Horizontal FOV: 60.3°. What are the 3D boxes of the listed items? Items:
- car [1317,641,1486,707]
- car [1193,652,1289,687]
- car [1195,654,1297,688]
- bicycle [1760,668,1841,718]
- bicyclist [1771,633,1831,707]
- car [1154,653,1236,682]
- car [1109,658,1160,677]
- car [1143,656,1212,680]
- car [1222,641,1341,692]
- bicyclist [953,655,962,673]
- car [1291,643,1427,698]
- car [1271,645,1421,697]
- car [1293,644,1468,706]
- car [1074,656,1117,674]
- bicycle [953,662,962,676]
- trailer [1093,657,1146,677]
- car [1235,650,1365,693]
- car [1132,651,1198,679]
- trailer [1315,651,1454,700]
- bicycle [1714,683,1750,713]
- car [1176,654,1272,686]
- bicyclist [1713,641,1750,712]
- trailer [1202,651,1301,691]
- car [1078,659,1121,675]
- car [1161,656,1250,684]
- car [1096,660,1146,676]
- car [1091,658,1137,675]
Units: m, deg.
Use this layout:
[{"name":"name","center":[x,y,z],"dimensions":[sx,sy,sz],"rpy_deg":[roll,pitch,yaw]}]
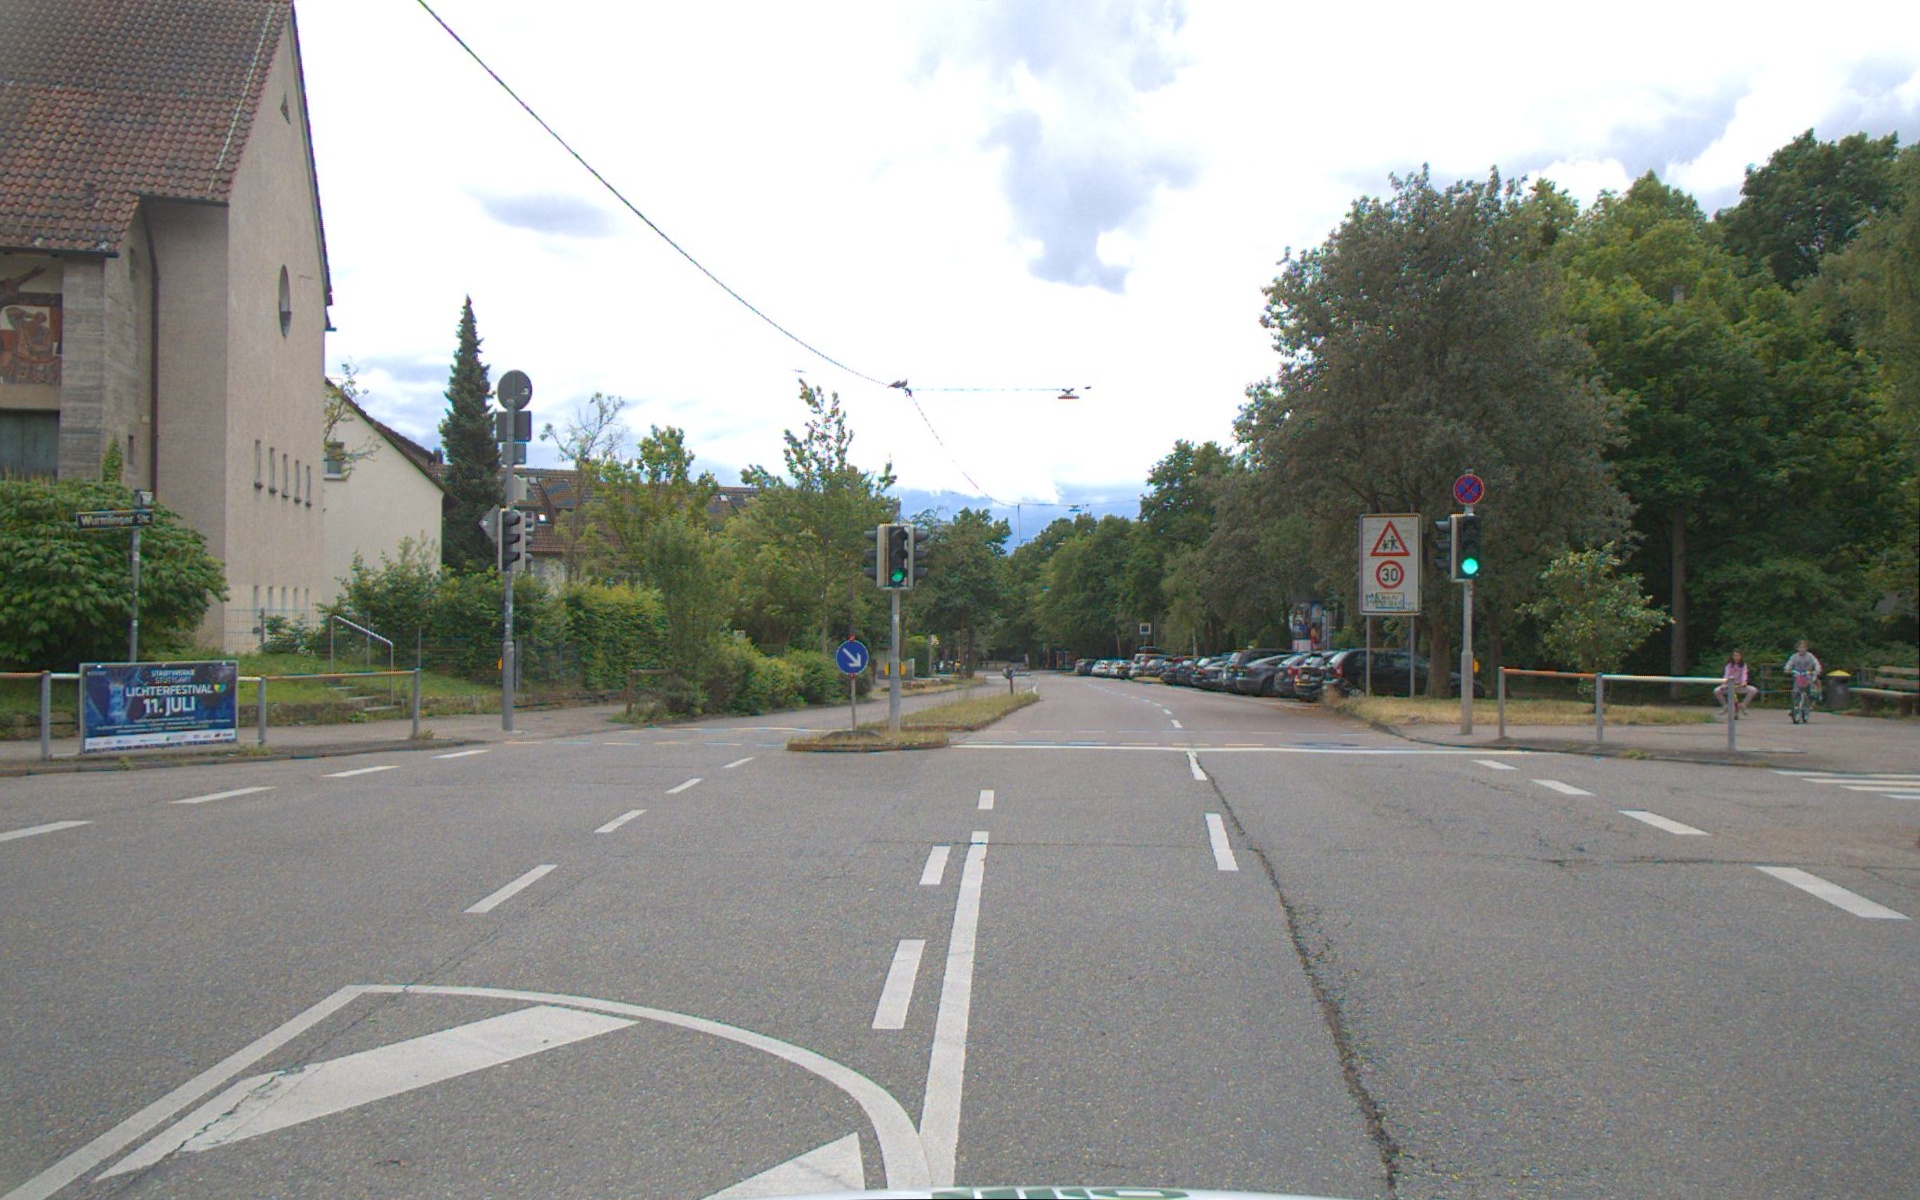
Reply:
[{"name":"car","center":[10.563,1.761,39.683],"dimensions":[3.639,1.502,1.576],"rpy_deg":[1,-2,0]},{"name":"car","center":[12.294,3.042,72.467],"dimensions":[3.843,1.513,1.613],"rpy_deg":[1,-2,-13]},{"name":"car","center":[11.938,2.977,69.211],"dimensions":[3.959,1.351,1.557],"rpy_deg":[1,-3,-6]},{"name":"bicycle","center":[13.745,1.511,27.095],"dimensions":[0.626,0.772,1.682],"rpy_deg":[0,-2,6]},{"name":"bicyclist","center":[13.760,1.137,27.078],"dimensions":[0.626,1.182,0.804],"rpy_deg":[0,-2,6]},{"name":"car","center":[12.512,3.592,87.929],"dimensions":[4.010,1.542,1.723],"rpy_deg":[1,-2,-20]},{"name":"car","center":[14.343,5.571,136.092],"dimensions":[3.825,1.474,1.734],"rpy_deg":[1,-3,-19]},{"name":"car","center":[13.576,4.247,103.175],"dimensions":[3.895,1.430,1.751],"rpy_deg":[2,-2,-12]},{"name":"car","center":[11.562,2.405,59.549],"dimensions":[3.909,1.755,1.678],"rpy_deg":[1,-3,-7]},{"name":"bicyclist","center":[-0.214,6.094,158.372],"dimensions":[0.827,1.727,0.713],"rpy_deg":[0,-2,1]},{"name":"car","center":[11.418,2.025,47.358],"dimensions":[3.459,1.502,1.588],"rpy_deg":[1,-2,-10]},{"name":"car","center":[11.609,2.140,49.853],"dimensions":[4.138,1.490,1.632],"rpy_deg":[1,-2,-6]},{"name":"car","center":[10.680,1.914,42.110],"dimensions":[4.057,1.502,1.573],"rpy_deg":[1,-2,-8]},{"name":"car","center":[13.260,6.410,162.161],"dimensions":[3.823,1.697,1.735],"rpy_deg":[1,-3,-17]},{"name":"bicycle","center":[-0.222,6.620,158.301],"dimensions":[0.827,1.288,2.652],"rpy_deg":[0,-1,1]},{"name":"trailer","center":[13.358,5.580,138.311],"dimensions":[4.088,1.601,1.704],"rpy_deg":[2,-3,-17]},{"name":"car","center":[11.644,2.455,56.771],"dimensions":[4.082,1.431,1.694],"rpy_deg":[1,-3,-8]},{"name":"car","center":[13.788,4.397,111.233],"dimensions":[4.032,1.785,1.773],"rpy_deg":[2,-2,-24]},{"name":"trailer","center":[11.545,2.053,45.091],"dimensions":[3.337,1.289,1.614],"rpy_deg":[1,-3,-7]},{"name":"bicycle","center":[13.499,1.713,28.923],"dimensions":[0.507,0.506,0.988],"rpy_deg":[-1,-3,22]},{"name":"car","center":[12.722,3.381,79.671],"dimensions":[4.267,1.471,1.629],"rpy_deg":[1,-2,-12]},{"name":"bicyclist","center":[13.499,1.342,28.941],"dimensions":[0.507,1.208,0.967],"rpy_deg":[-1,-4,22]},{"name":"trailer","center":[11.818,2.873,67.164],"dimensions":[3.620,1.562,1.642],"rpy_deg":[1,-2,-9]},{"name":"car","center":[13.437,6.447,159.359],"dimensions":[3.823,1.454,1.735],"rpy_deg":[1,-3,-17]},{"name":"car","center":[12.621,3.597,85.011],"dimensions":[4.235,1.365,1.728],"rpy_deg":[1,-3,-11]},{"name":"car","center":[13.725,5.802,140.980],"dimensions":[3.830,1.333,1.732],"rpy_deg":[2,-3,-22]},{"name":"car","center":[13.884,5.993,149.343],"dimensions":[3.823,1.454,1.735],"rpy_deg":[1,-3,-17]}]
